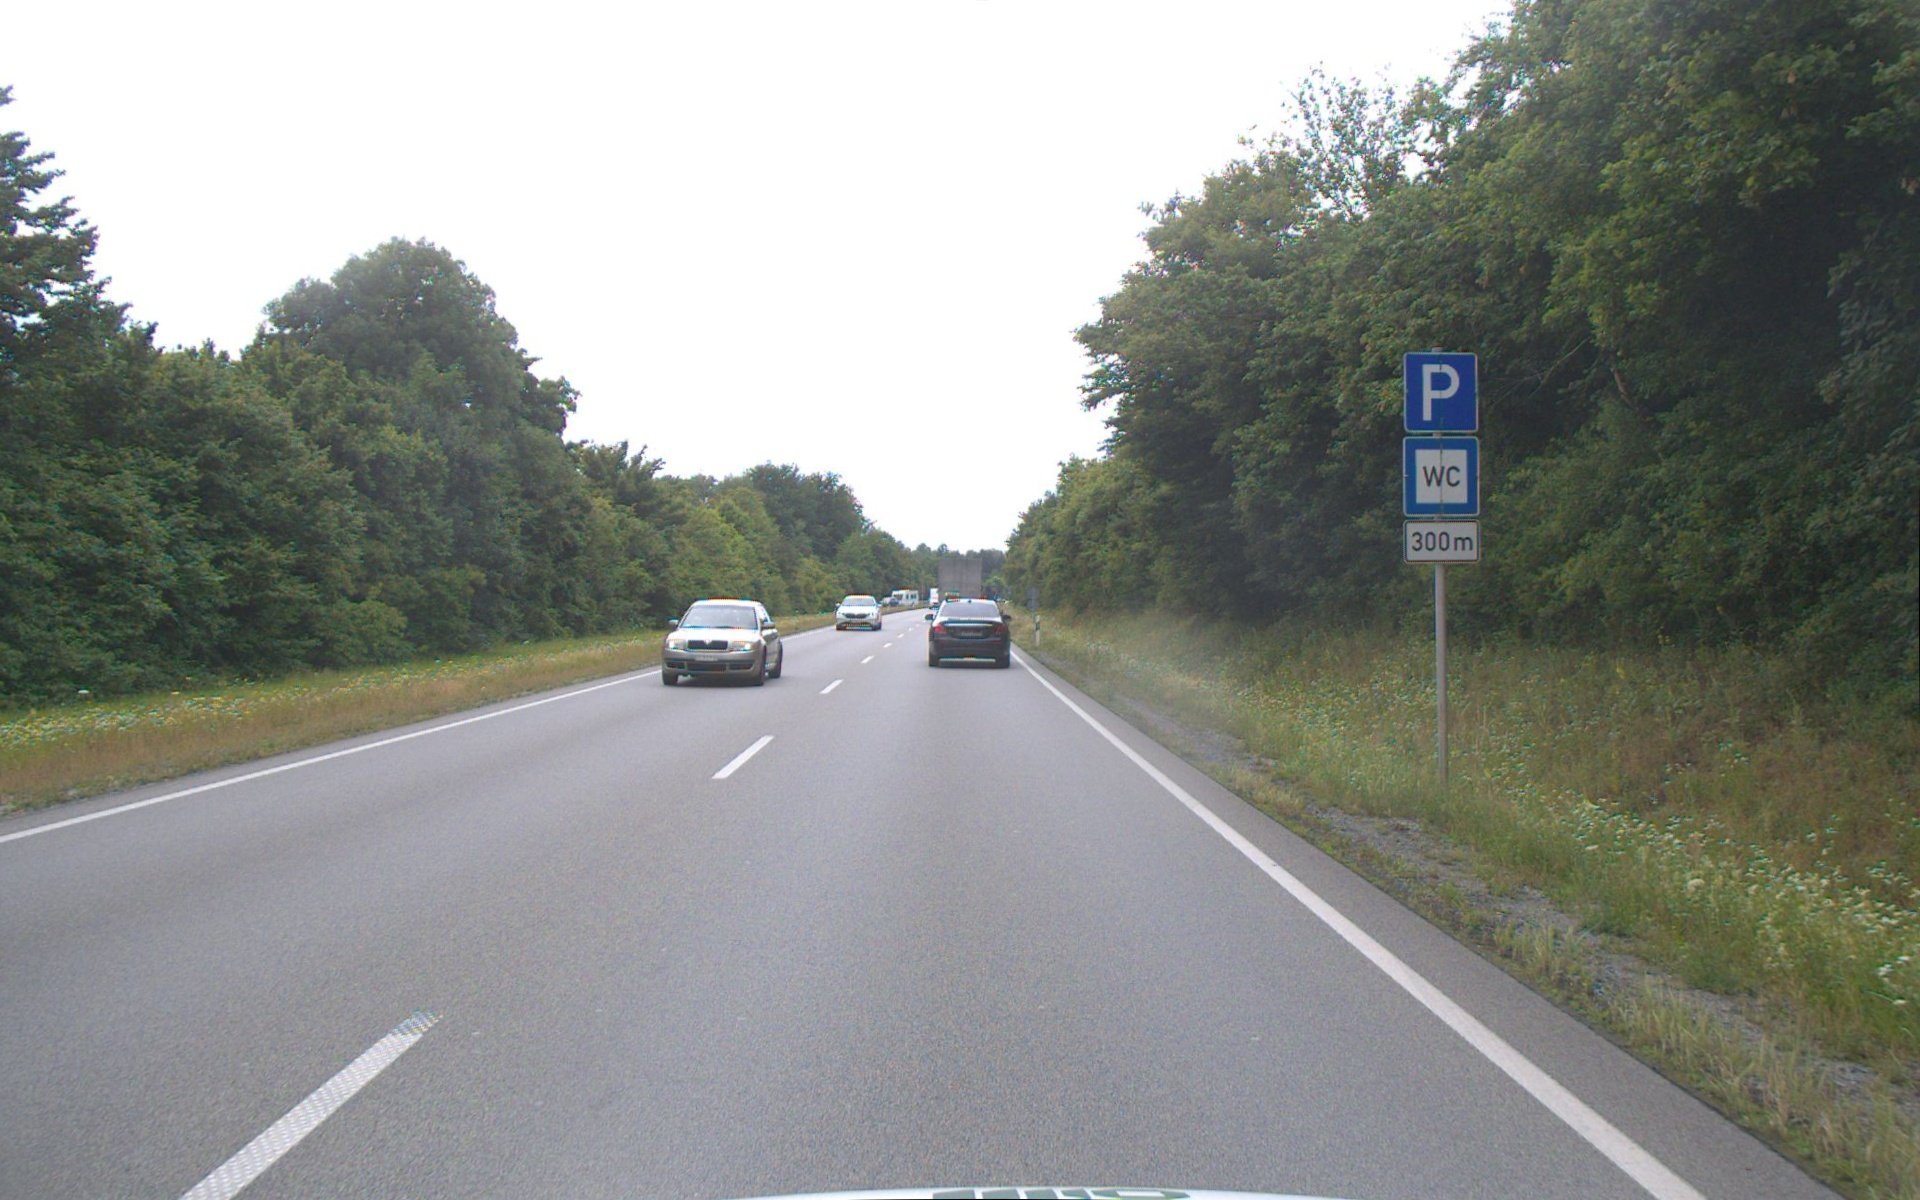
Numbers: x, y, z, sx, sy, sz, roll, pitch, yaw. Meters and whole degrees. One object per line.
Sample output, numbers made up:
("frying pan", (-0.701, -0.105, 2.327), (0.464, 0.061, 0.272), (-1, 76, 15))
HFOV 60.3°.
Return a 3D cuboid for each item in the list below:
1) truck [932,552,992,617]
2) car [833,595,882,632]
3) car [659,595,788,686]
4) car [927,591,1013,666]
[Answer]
("truck", (0.213, -0.869, 100.503), (3.213, 3.675, 11.402), (1, 0, 2))
("car", (-4.615, 0.604, 75.376), (1.924, 1.601, 5.451), (1, 0, -1))
("car", (-4.086, 0.661, 29.228), (1.690, 1.459, 4.502), (1, 0, -1))
("car", (0.181, 0.622, 37.371), (1.755, 1.579, 3.998), (1, 0, -2))
